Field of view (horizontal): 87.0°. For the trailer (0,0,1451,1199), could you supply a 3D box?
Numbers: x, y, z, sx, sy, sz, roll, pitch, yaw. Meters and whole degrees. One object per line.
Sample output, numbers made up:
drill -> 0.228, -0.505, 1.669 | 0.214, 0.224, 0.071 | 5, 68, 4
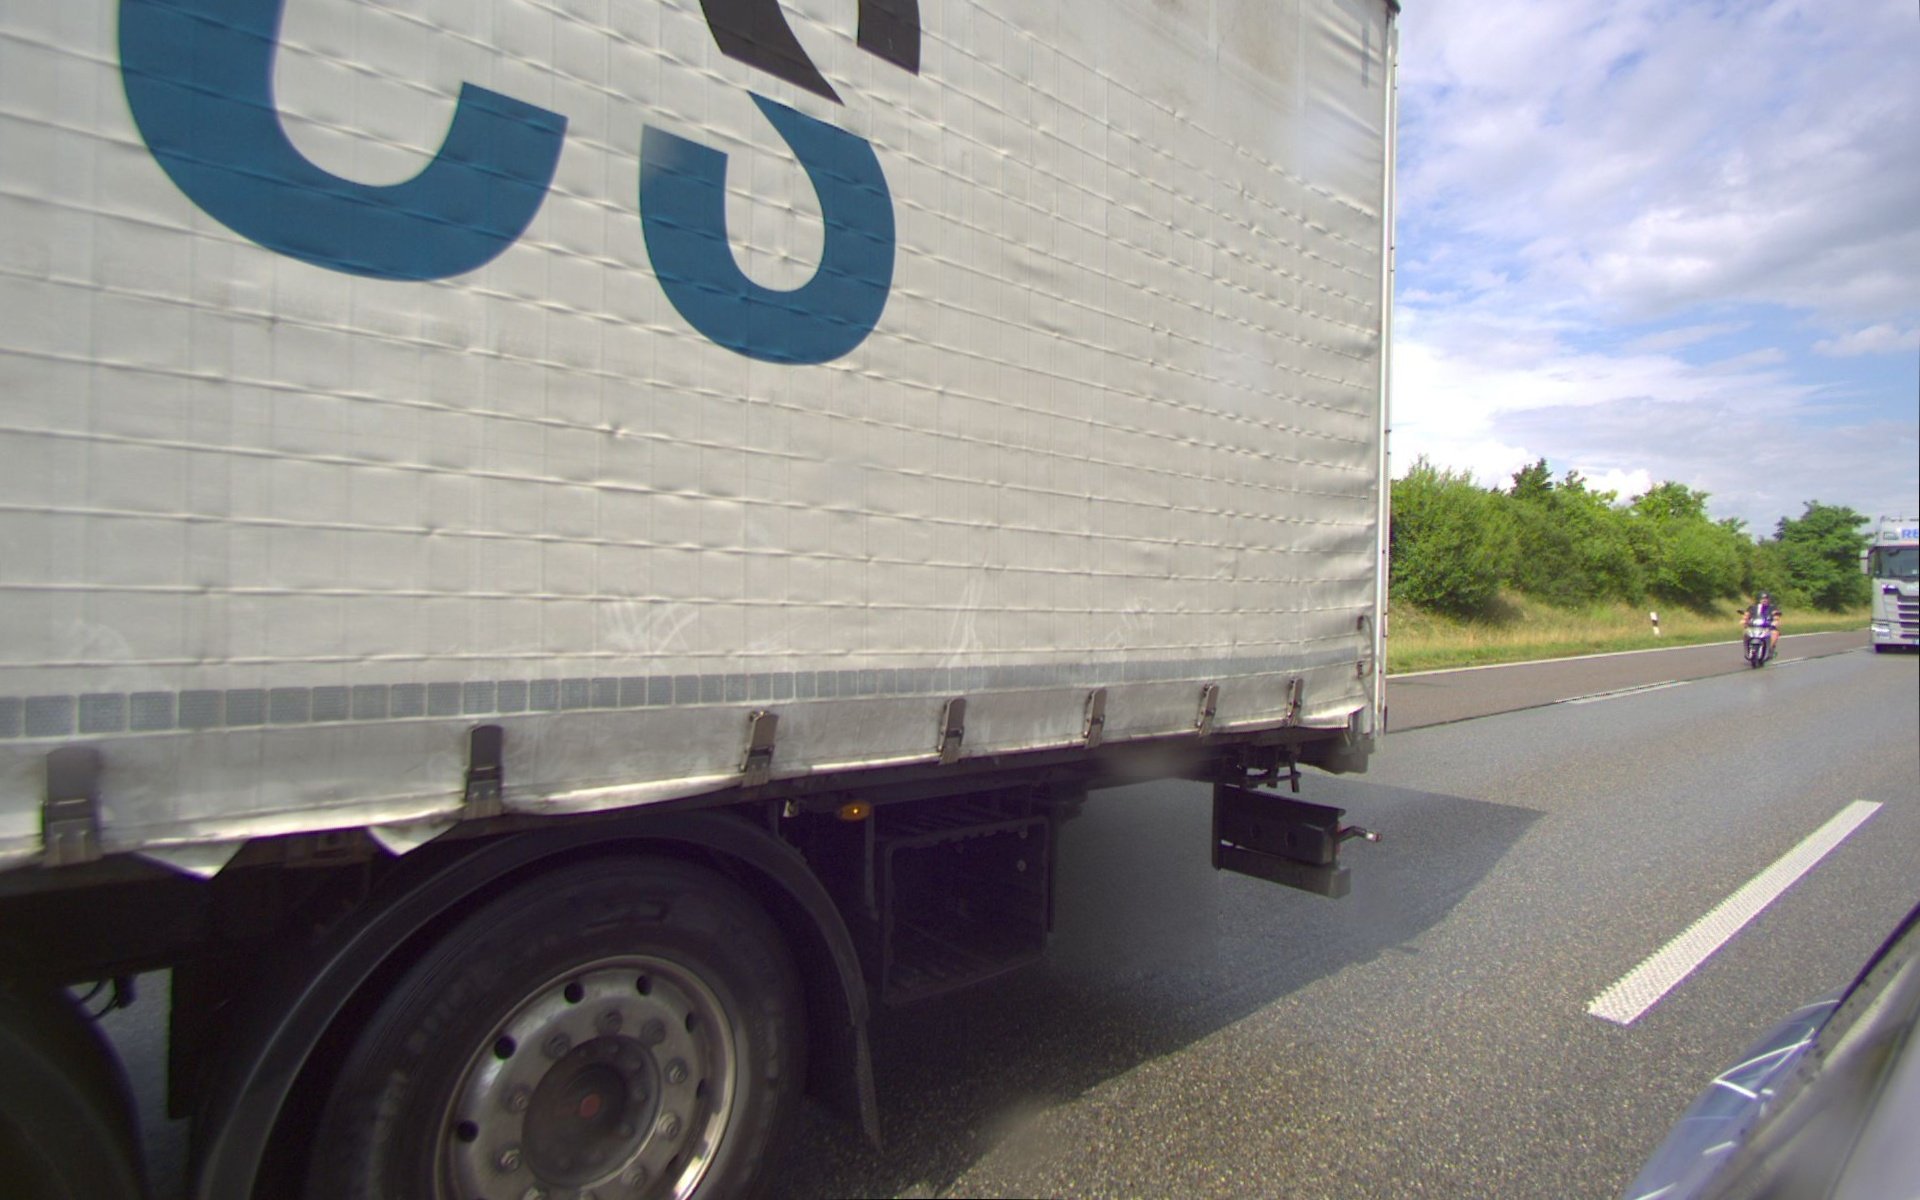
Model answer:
trailer -> -4.368, -0.558, 0.576 | 13.883, 3.948, 3.289 | 0, 0, -41

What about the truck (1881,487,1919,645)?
truck -> 29.054, -0.973, 29.635 | 6.771, 4.328, 2.645 | -1, 1, -44

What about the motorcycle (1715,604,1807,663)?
motorcycle -> 17.720, 0.693, 22.351 | 3.142, 1.163, 1.185 | -1, 1, -44

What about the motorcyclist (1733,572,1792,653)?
motorcyclist -> 17.592, 0.262, 22.173 | 0.984, 1.728, 0.882 | 0, 0, -43
